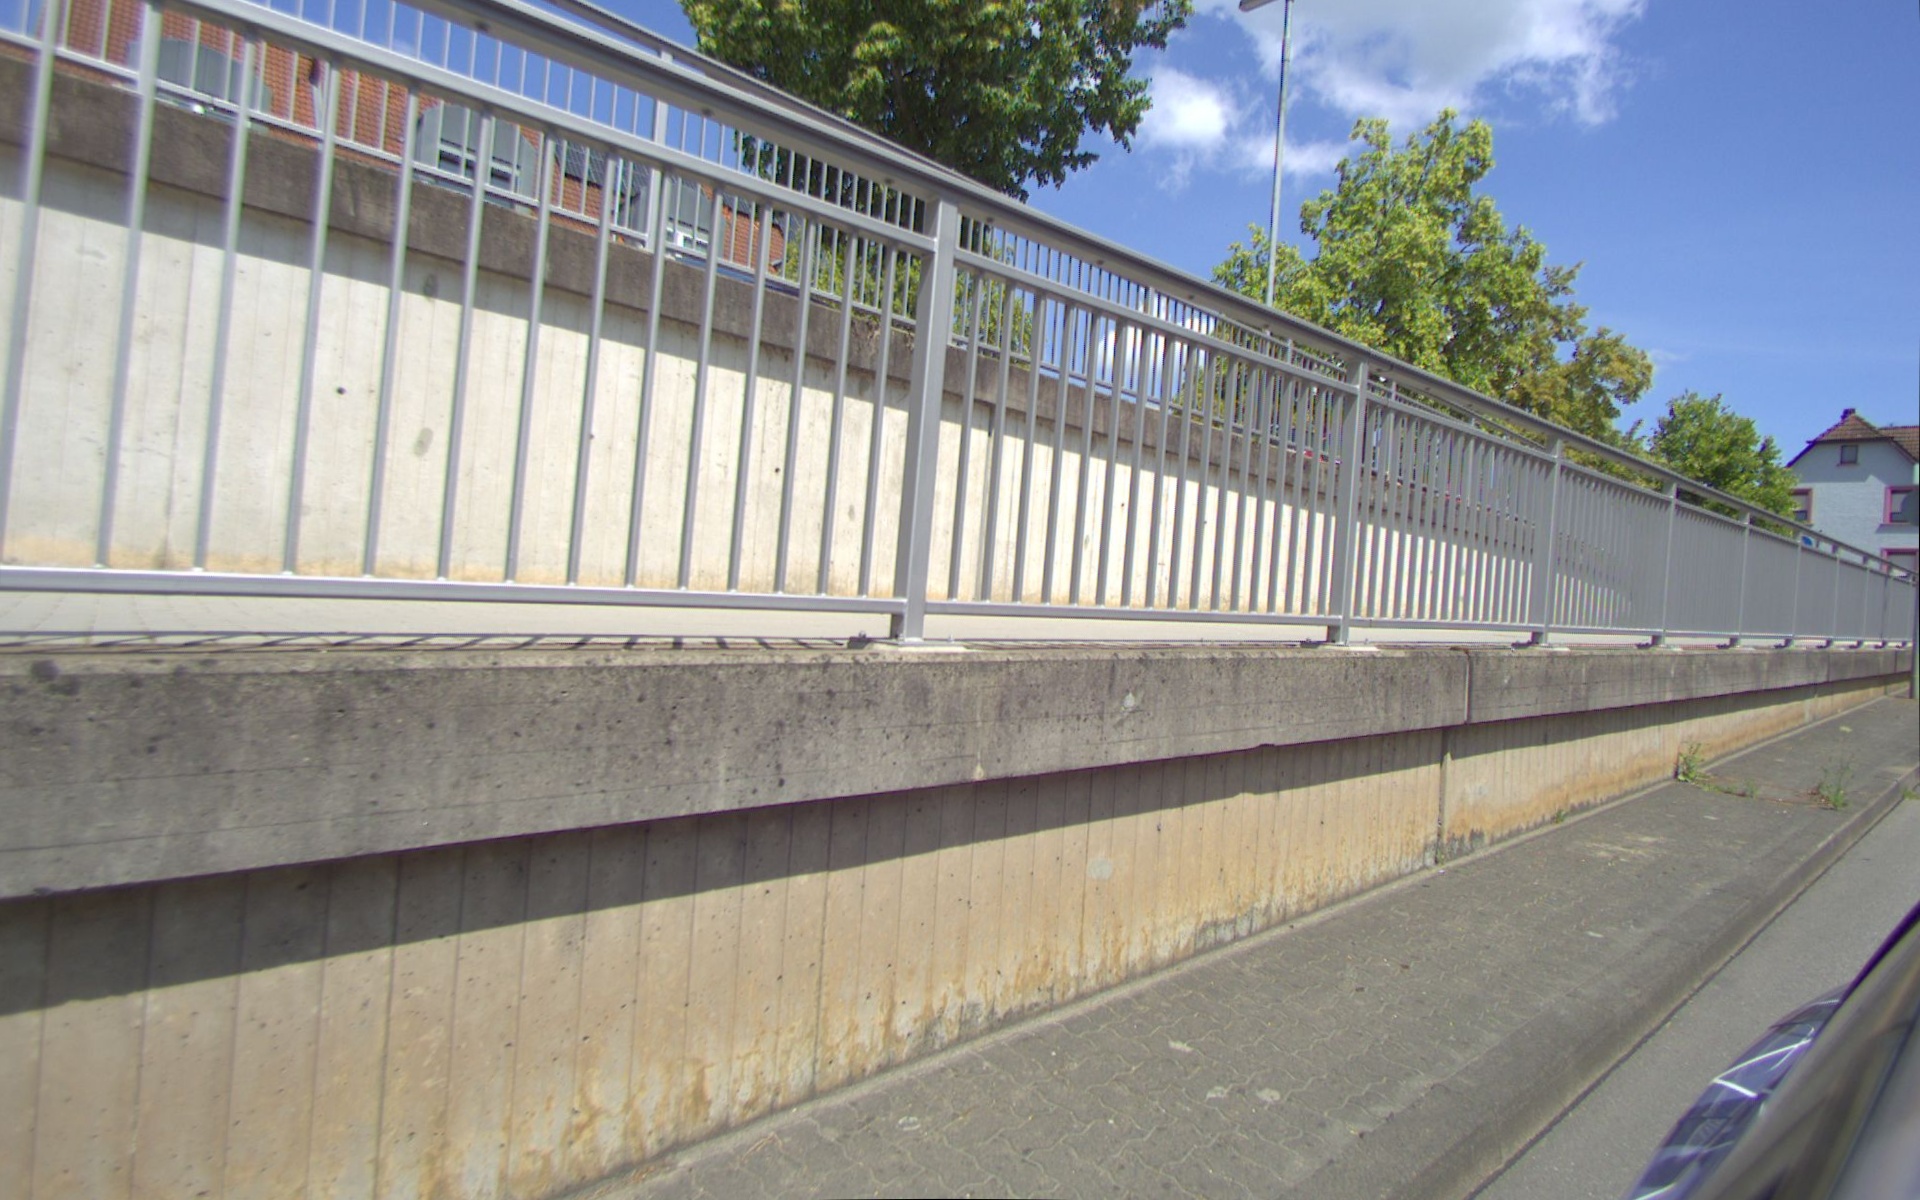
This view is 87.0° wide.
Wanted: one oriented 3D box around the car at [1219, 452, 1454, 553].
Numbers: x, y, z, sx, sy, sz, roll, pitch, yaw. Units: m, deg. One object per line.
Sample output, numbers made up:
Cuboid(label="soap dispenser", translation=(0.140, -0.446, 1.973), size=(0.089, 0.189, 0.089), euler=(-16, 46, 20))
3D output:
Cuboid(label="car", translation=(7.375, -1.823, 19.991), size=(3.983, 1.650, 1.836), euler=(1, 0, 41))

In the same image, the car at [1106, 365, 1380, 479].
Cuboid(label="car", translation=(4.492, -2.787, 16.526), size=(1.741, 1.323, 3.997), euler=(2, 2, -39))

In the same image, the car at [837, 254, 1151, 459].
Cuboid(label="car", translation=(0.258, -2.780, 12.429), size=(1.693, 1.575, 3.998), euler=(1, 1, -37))

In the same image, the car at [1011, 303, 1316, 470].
Cuboid(label="car", translation=(2.682, -2.797, 14.097), size=(1.692, 1.446, 3.998), euler=(4, -1, -37))

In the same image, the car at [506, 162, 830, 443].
Cuboid(label="car", translation=(-3.020, -2.605, 9.873), size=(1.693, 1.575, 3.998), euler=(1, 1, -37))

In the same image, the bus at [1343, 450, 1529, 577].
Cuboid(label="bus", translation=(11.973, -2.041, 25.268), size=(5.270, 2.396, 2.193), euler=(5, -1, -42))
